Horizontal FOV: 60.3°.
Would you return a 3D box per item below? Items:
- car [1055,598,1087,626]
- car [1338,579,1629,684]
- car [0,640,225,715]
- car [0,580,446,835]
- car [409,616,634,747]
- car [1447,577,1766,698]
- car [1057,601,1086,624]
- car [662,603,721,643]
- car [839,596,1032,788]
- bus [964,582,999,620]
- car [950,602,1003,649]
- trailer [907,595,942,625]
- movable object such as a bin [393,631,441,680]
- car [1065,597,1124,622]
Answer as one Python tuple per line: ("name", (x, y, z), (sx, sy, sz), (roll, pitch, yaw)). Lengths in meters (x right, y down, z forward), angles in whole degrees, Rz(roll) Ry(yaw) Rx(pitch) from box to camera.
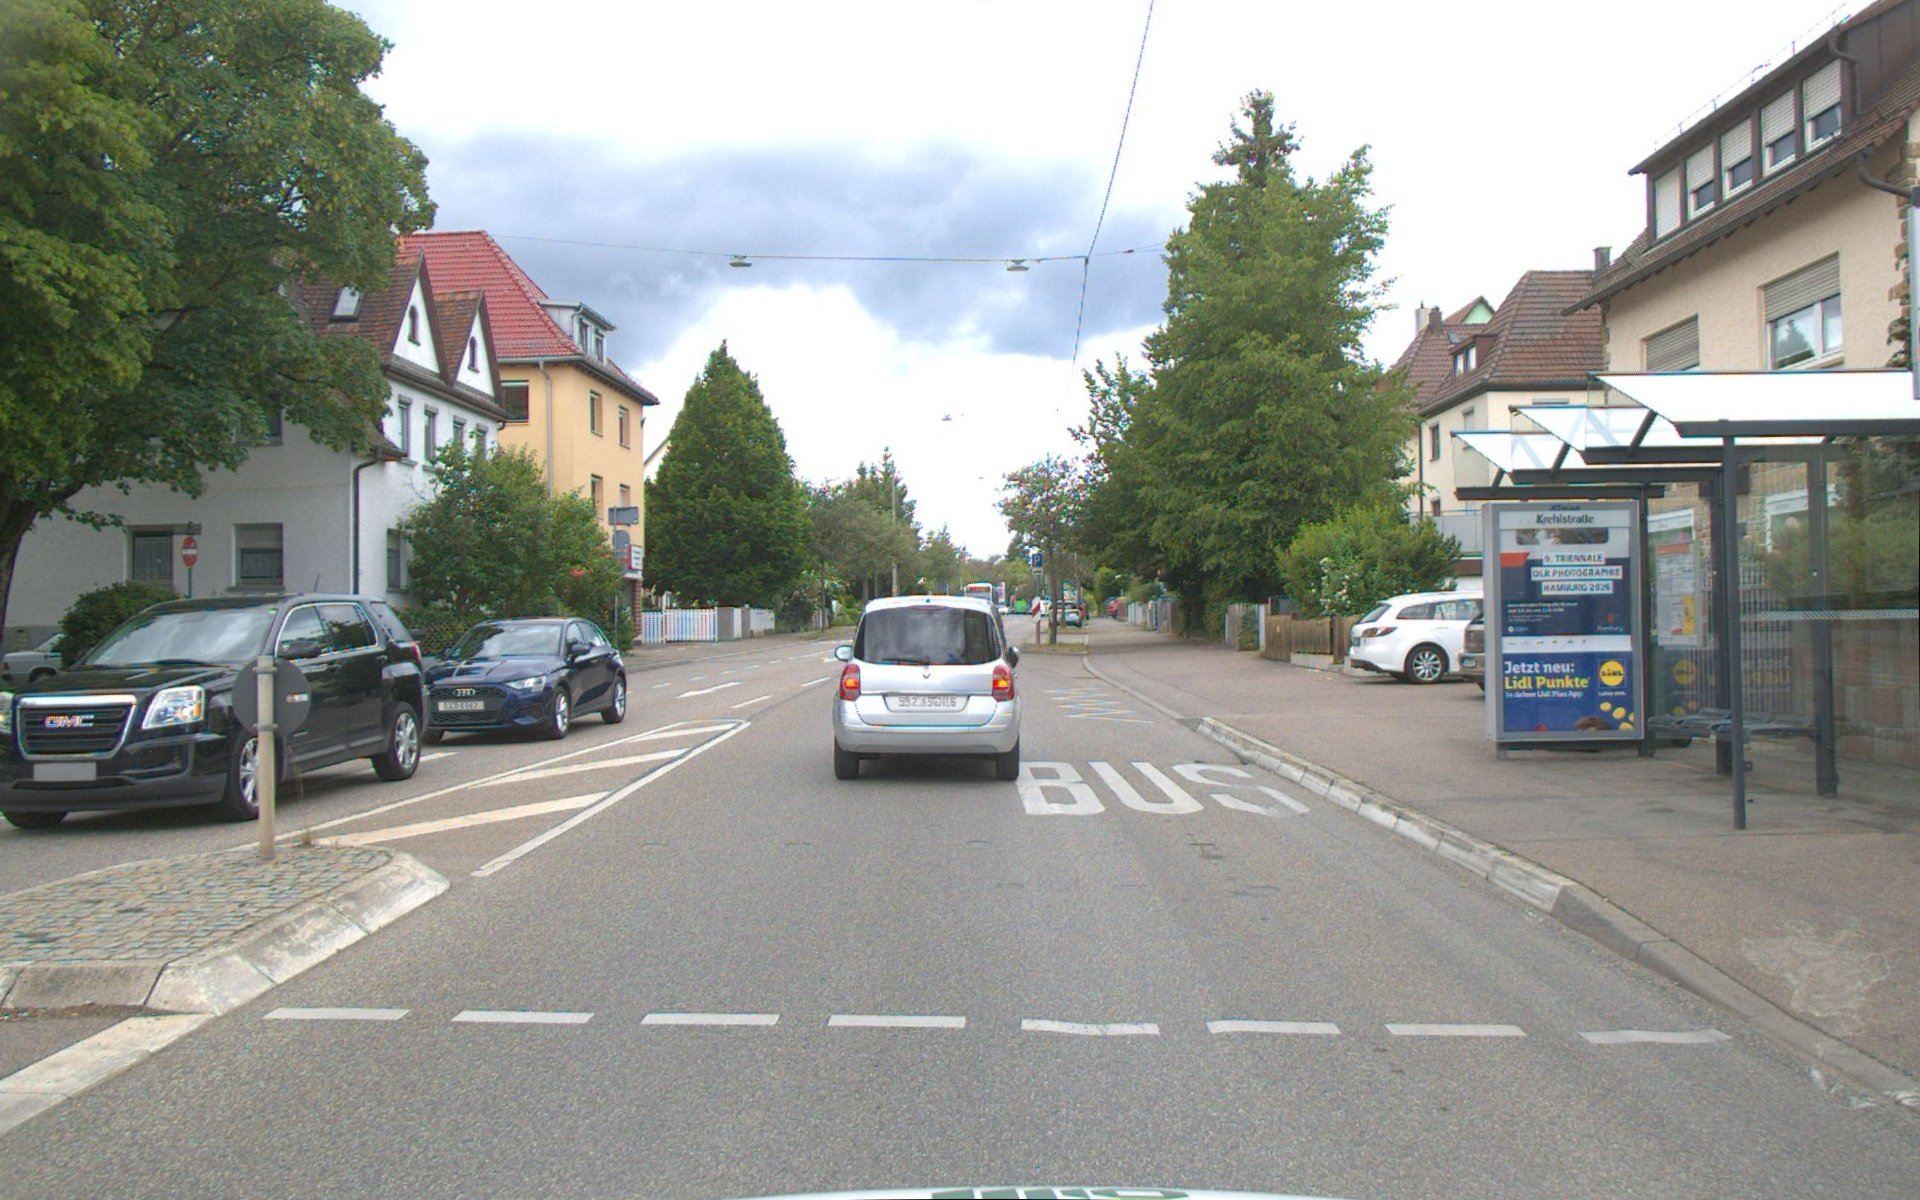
("car", (5.739, 0.642, 85.089), (1.615, 1.407, 4.002), (0, -1, 4))
("car", (8.826, 0.539, 28.154), (4.328, 1.514, 1.865), (-3, -2, 2))
("car", (-18.128, 1.642, 35.464), (3.905, 1.355, 1.722), (-3, -2, 1))
("car", (-5.922, 0.794, 13.524), (1.721, 1.663, 4.596), (-3, -2, 3))
("car", (-5.350, 0.964, 20.693), (1.531, 1.445, 4.131), (-1, -1, 2))
("car", (8.890, 0.521, 22.942), (3.726, 1.426, 1.640), (-3, -2, -2))
("car", (7.036, 0.757, 104.108), (1.627, 1.417, 3.670), (-1, 0, 6))
("car", (-11.960, 0.999, 73.983), (1.769, 1.591, 4.618), (-3, 0, 0))
("car", (-0.254, 0.806, 15.742), (1.597, 1.584, 3.998), (0, -1, -2))
("bus", (1.948, 0.128, 146.736), (2.577, 3.140, 12.073), (-2, 0, 3))
("car", (0.663, 0.972, 63.110), (1.791, 1.705, 3.576), (-1, -1, 3))
("trailer", (-2.619, 0.781, 125.136), (2.264, 2.123, 5.874), (0, -1, 2))
("movable object such as a bin", (-12.106, 1.232, 36.881), (0.706, 1.037, 0.720), (2, 2, 36))
("car", (9.539, 0.687, 117.502), (3.910, 1.522, 1.808), (-4, -1, -5))
